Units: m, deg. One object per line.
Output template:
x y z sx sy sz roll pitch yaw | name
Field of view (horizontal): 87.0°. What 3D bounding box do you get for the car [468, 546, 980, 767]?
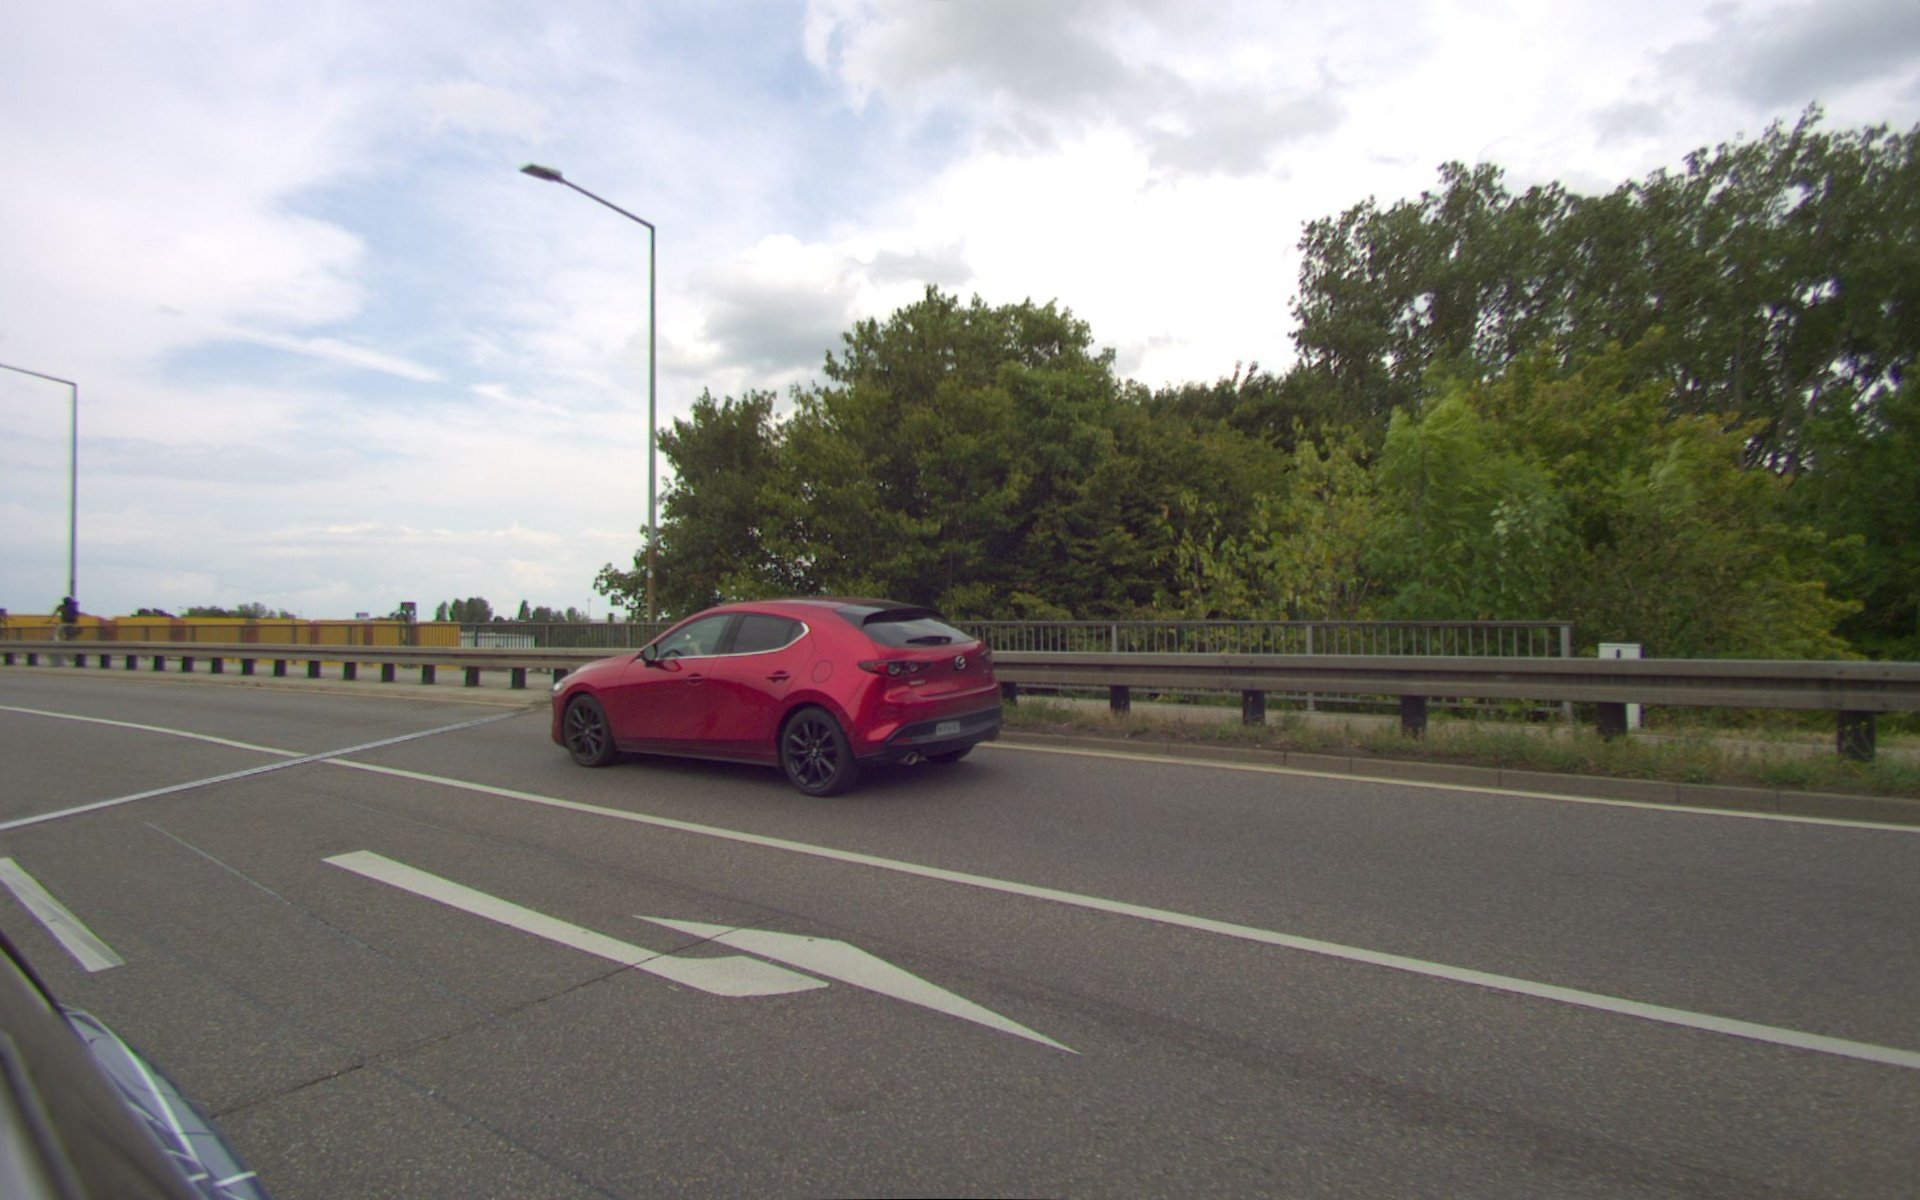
-2.234 0.325 8.873 4.627 1.483 1.780 2 1 36 | car
